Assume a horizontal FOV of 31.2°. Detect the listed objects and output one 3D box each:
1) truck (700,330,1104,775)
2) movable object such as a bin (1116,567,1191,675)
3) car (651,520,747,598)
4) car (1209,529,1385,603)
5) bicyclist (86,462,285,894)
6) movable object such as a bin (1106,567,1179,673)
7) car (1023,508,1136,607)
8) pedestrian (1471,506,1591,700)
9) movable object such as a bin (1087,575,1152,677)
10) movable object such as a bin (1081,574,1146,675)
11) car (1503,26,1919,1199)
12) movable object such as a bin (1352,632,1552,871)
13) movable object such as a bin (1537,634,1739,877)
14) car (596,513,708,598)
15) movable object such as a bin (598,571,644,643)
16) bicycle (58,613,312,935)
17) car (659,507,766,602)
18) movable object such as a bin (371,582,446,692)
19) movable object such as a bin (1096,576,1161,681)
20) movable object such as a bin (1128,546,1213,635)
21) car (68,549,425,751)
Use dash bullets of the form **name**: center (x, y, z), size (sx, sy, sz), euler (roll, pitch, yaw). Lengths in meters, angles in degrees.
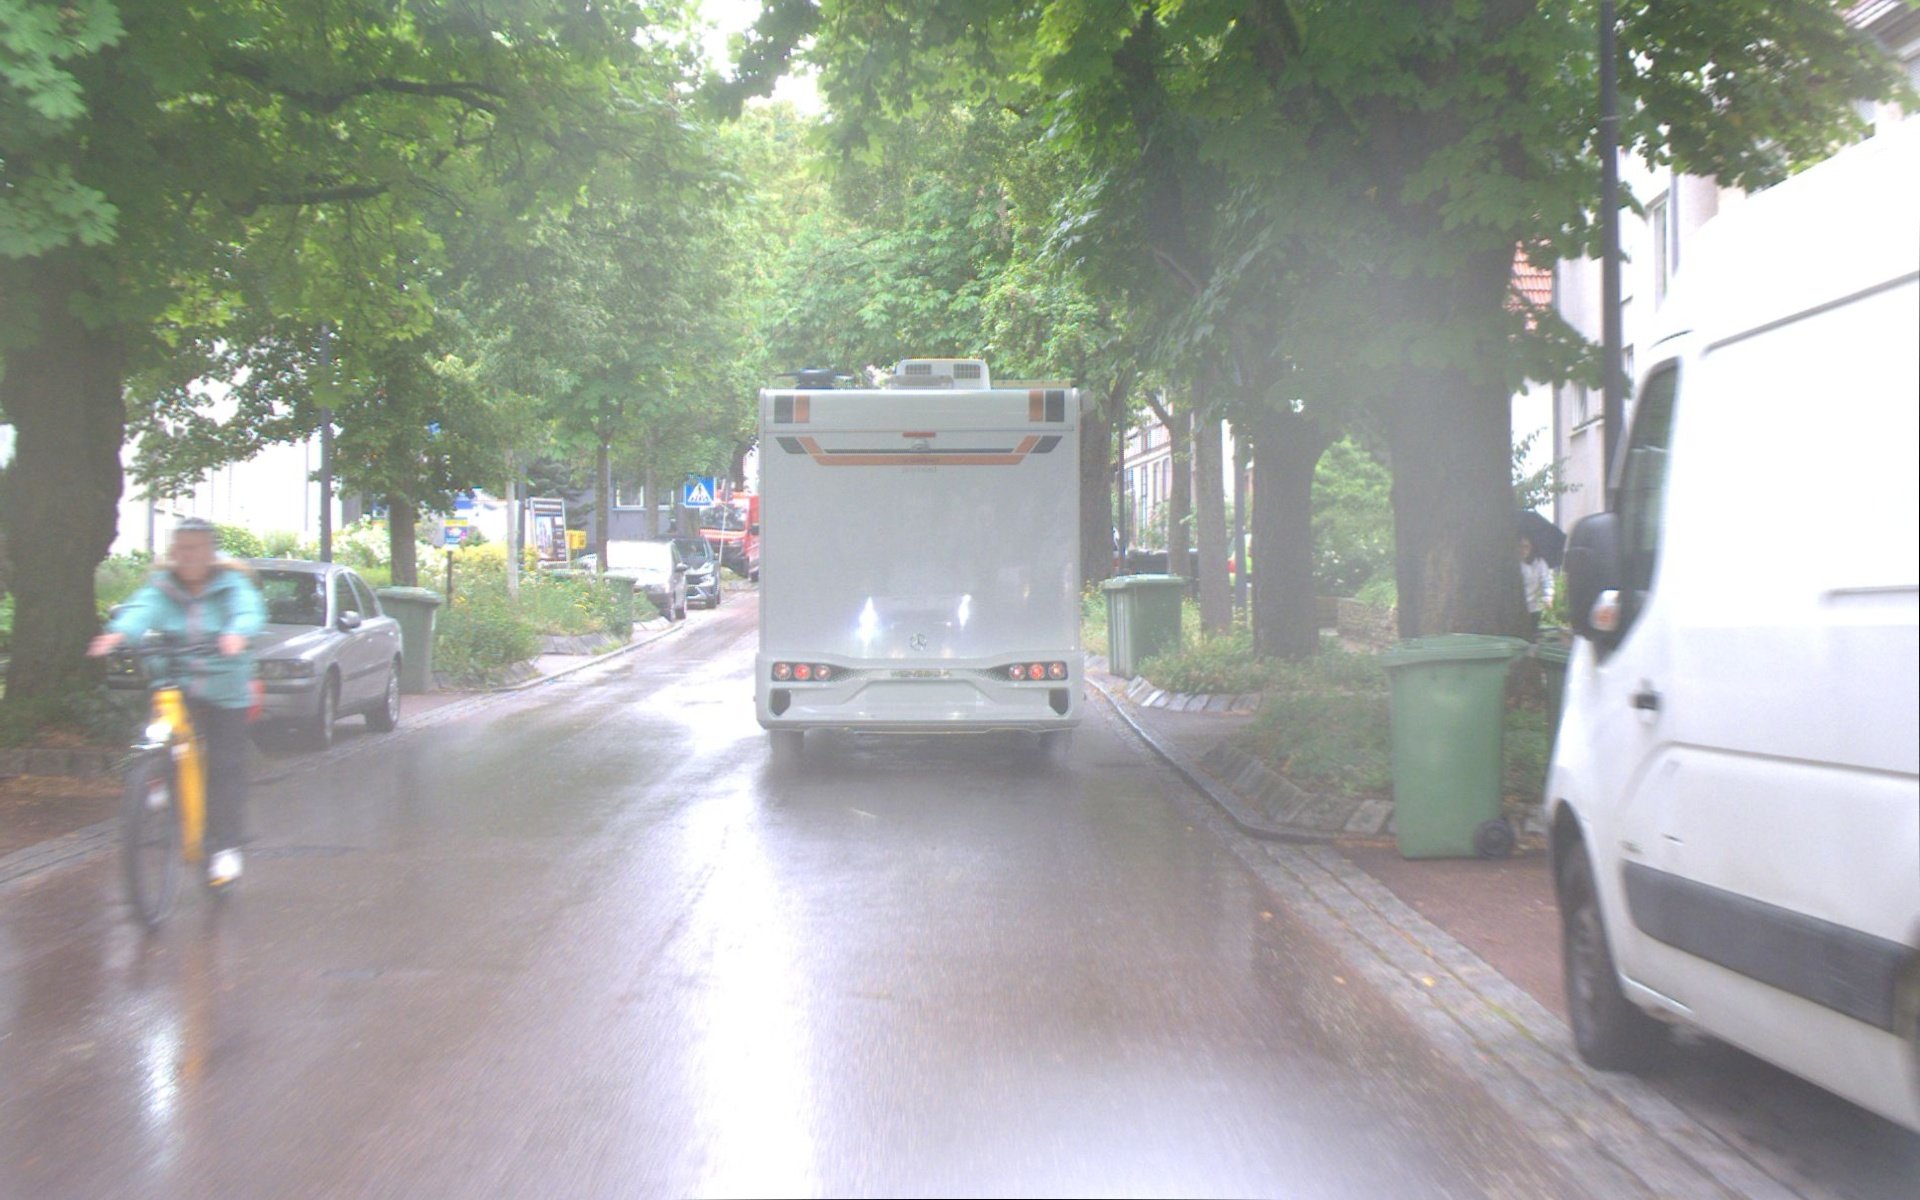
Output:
- **truck**: center (-0.417, -0.364, 26.263), size (2.694, 2.975, 6.237), euler (0, 1, 0)
- **movable object such as a bin**: center (1.961, 0.212, 34.890), size (0.688, 1.079, 0.541), euler (0, 1, -4)
- **car**: center (-5.598, -0.911, 74.100), size (1.771, 1.548, 4.000), euler (2, 2, -1)
- **car**: center (6.929, -0.708, 70.933), size (3.364, 1.425, 1.631), euler (-2, 1, -3)
- **bicyclist**: center (-3.184, 0.308, 14.192), size (0.627, 1.725, 0.880), euler (0, 1, -1)
- **movable object such as a bin**: center (1.882, 0.201, 35.459), size (0.688, 1.079, 0.541), euler (0, 1, -4)
- **car**: center (2.225, -0.813, 64.963), size (1.914, 1.786, 4.489), euler (0, 1, -1)
- **pedestrian**: center (4.945, 0.022, 29.747), size (0.955, 1.646, 0.793), euler (-1, 0, 13)
- **movable object such as a bin**: center (1.703, 0.274, 36.701), size (0.630, 1.079, 0.472), euler (0, 1, -4)
- **movable object such as a bin**: center (1.660, 0.259, 37.240), size (0.643, 1.079, 0.541), euler (0, 1, -4)
- **car**: center (2.815, 0.150, 8.092), size (2.141, 2.451, 5.435), euler (0, 1, -1)
- **movable object such as a bin**: center (2.307, 0.698, 16.221), size (0.797, 1.071, 0.879), euler (0, 1, -1)
- **movable object such as a bin**: center (3.139, 0.708, 15.985), size (0.748, 1.071, 0.879), euler (0, 1, -1)
- **car**: center (-5.807, -0.861, 65.154), size (1.647, 1.528, 3.866), euler (1, 1, 1)
- **movable object such as a bin**: center (-5.273, 0.103, 53.474), size (0.643, 1.107, 0.536), euler (0, 2, 1)
- **bicycle**: center (-3.179, 0.675, 14.265), size (0.627, 1.205, 1.981), euler (0, 1, -1)
- **car**: center (-6.775, -1.295, 94.698), size (2.303, 2.474, 5.785), euler (0, 2, 2)
- **movable object such as a bin**: center (-5.554, 0.368, 34.633), size (0.595, 1.059, 0.545), euler (3, 1, 3)
- **movable object such as a bin**: center (1.763, 0.295, 36.012), size (0.609, 1.079, 0.513), euler (0, 1, -4)
- **movable object such as a bin**: center (3.138, -0.151, 51.358), size (1.225, 1.311, 1.134), euler (-1, 1, 2)
- **car**: center (-5.500, 0.326, 27.063), size (1.772, 1.384, 4.545), euler (2, 1, 1)
